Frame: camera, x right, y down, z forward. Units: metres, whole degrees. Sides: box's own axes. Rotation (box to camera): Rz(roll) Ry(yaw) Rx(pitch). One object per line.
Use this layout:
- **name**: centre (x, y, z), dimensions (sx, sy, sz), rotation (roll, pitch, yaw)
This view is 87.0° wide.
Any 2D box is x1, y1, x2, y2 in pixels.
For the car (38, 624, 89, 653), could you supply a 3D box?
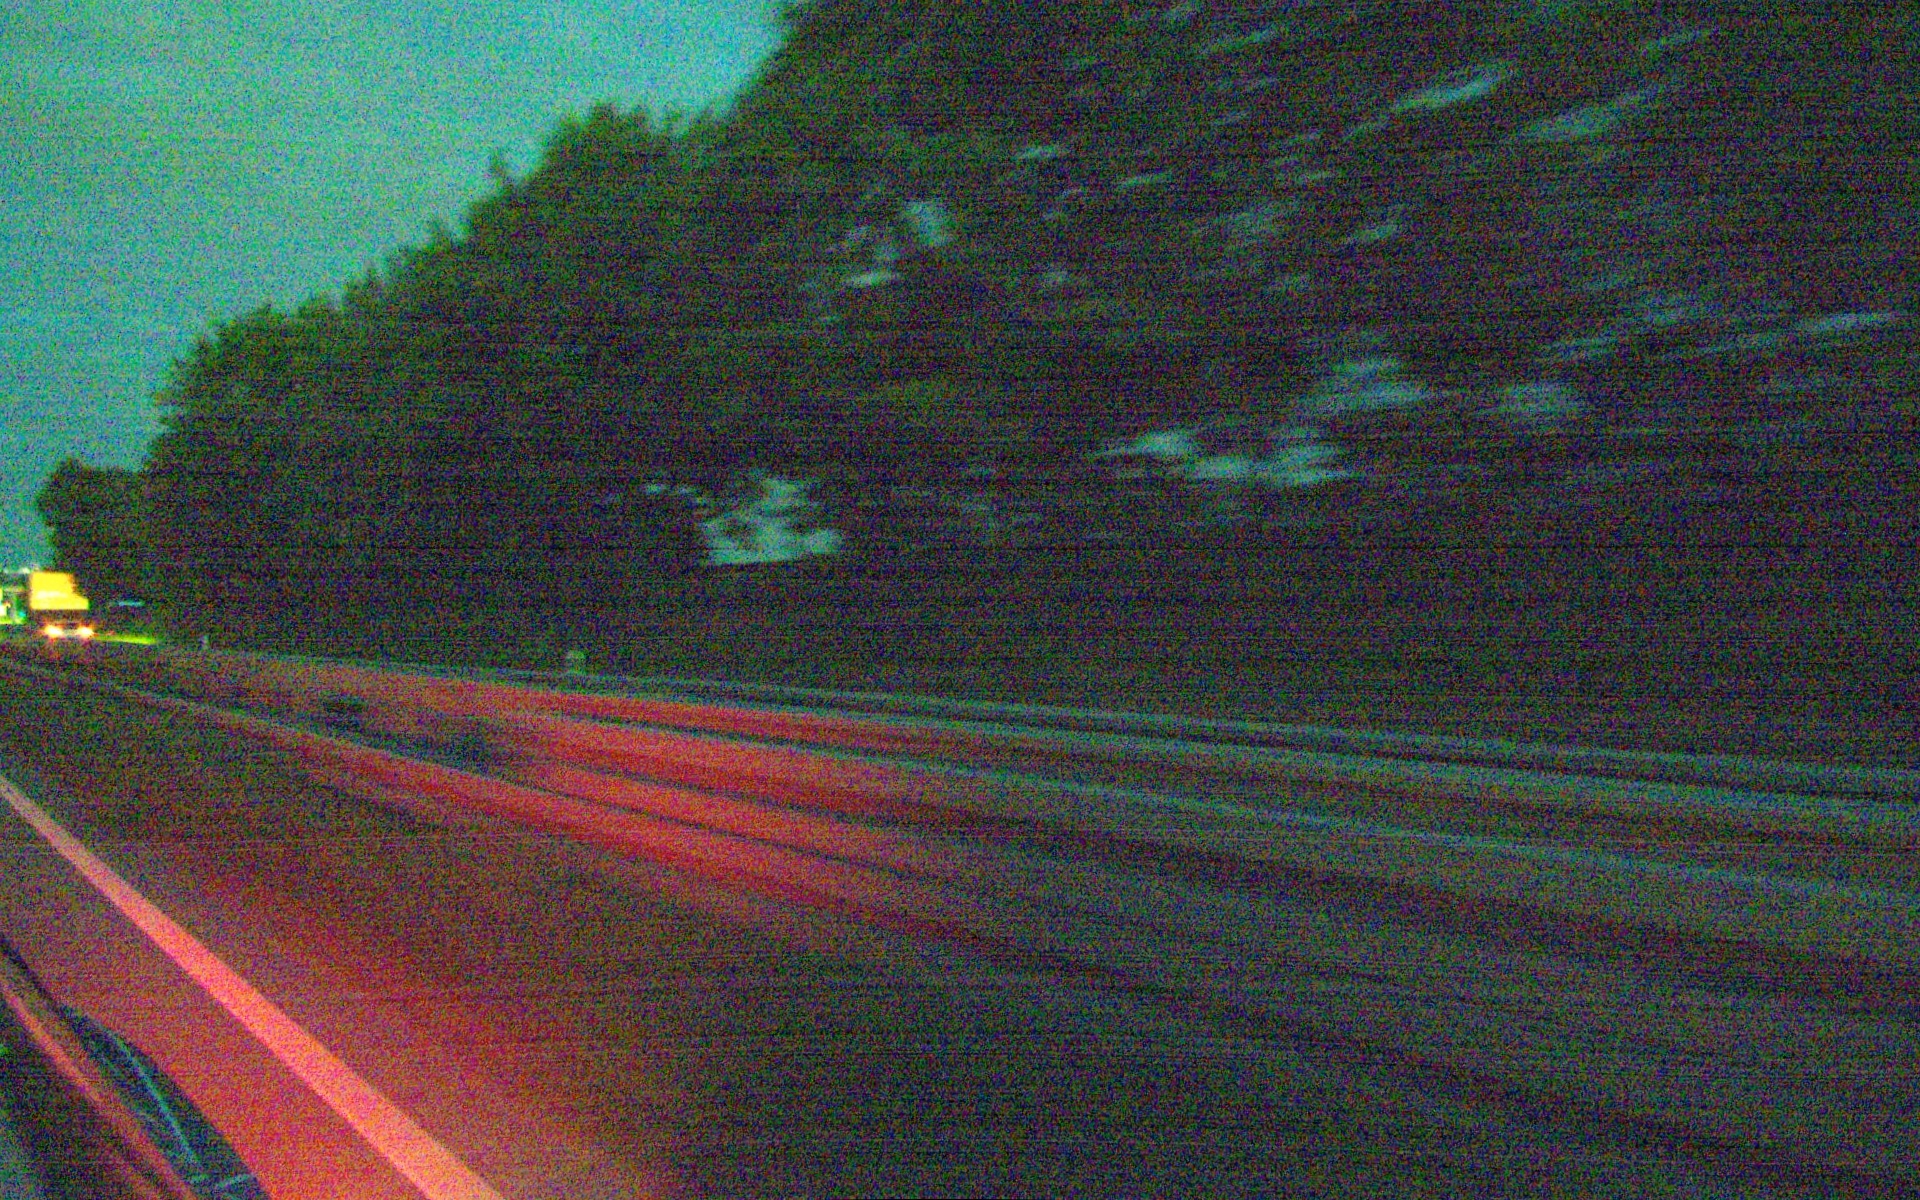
- **car**: centre (-49.129, 2.083, 55.441), dimensions (3.867, 1.518, 1.600), rotation (-1, 0, 41)
